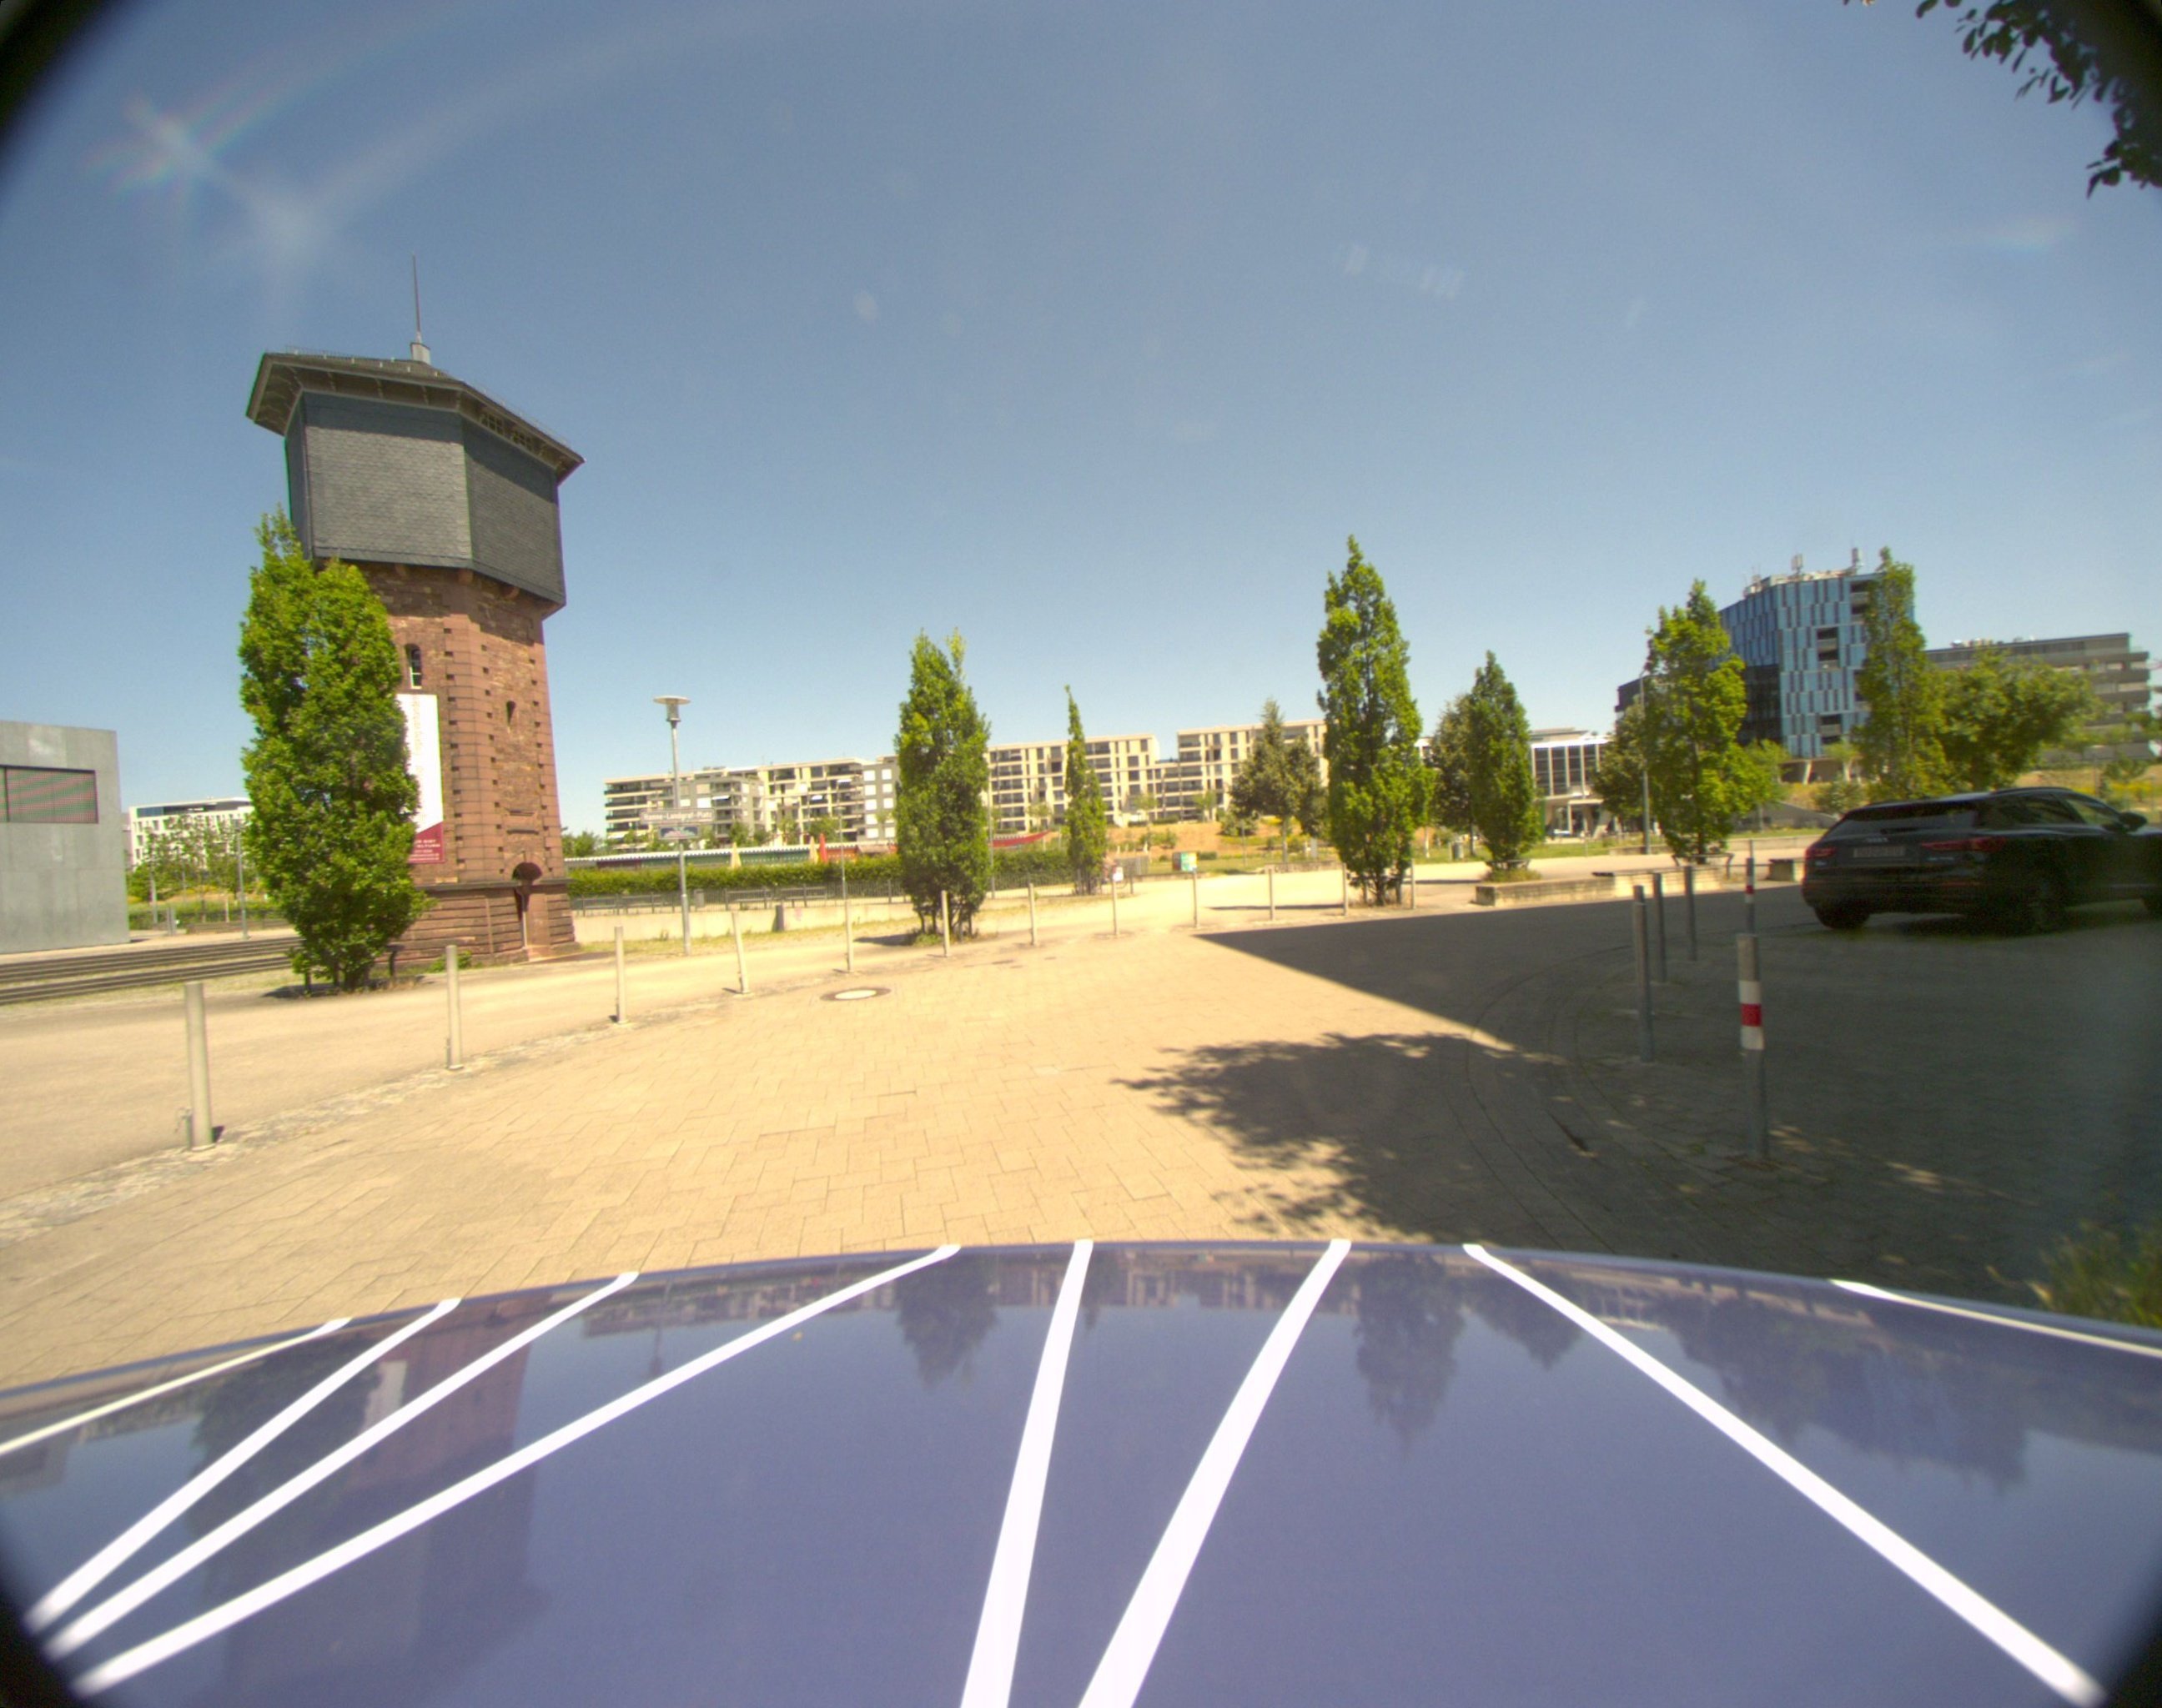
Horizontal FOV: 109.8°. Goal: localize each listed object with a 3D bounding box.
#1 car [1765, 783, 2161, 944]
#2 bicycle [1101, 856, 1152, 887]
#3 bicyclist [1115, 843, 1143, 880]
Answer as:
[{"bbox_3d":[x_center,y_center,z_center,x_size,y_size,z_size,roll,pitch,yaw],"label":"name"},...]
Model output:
[{"bbox_3d":[10.747,0.058,9.024,4.399,1.510,1.777,-3,-1,-16],"label":"car"},{"bbox_3d":[1.895,0.722,31.323,1.911,1.111,0.800,-4,1,15],"label":"bicycle"},{"bbox_3d":[1.974,0.319,31.281,0.881,1.447,0.860,-4,1,15],"label":"bicyclist"}]
